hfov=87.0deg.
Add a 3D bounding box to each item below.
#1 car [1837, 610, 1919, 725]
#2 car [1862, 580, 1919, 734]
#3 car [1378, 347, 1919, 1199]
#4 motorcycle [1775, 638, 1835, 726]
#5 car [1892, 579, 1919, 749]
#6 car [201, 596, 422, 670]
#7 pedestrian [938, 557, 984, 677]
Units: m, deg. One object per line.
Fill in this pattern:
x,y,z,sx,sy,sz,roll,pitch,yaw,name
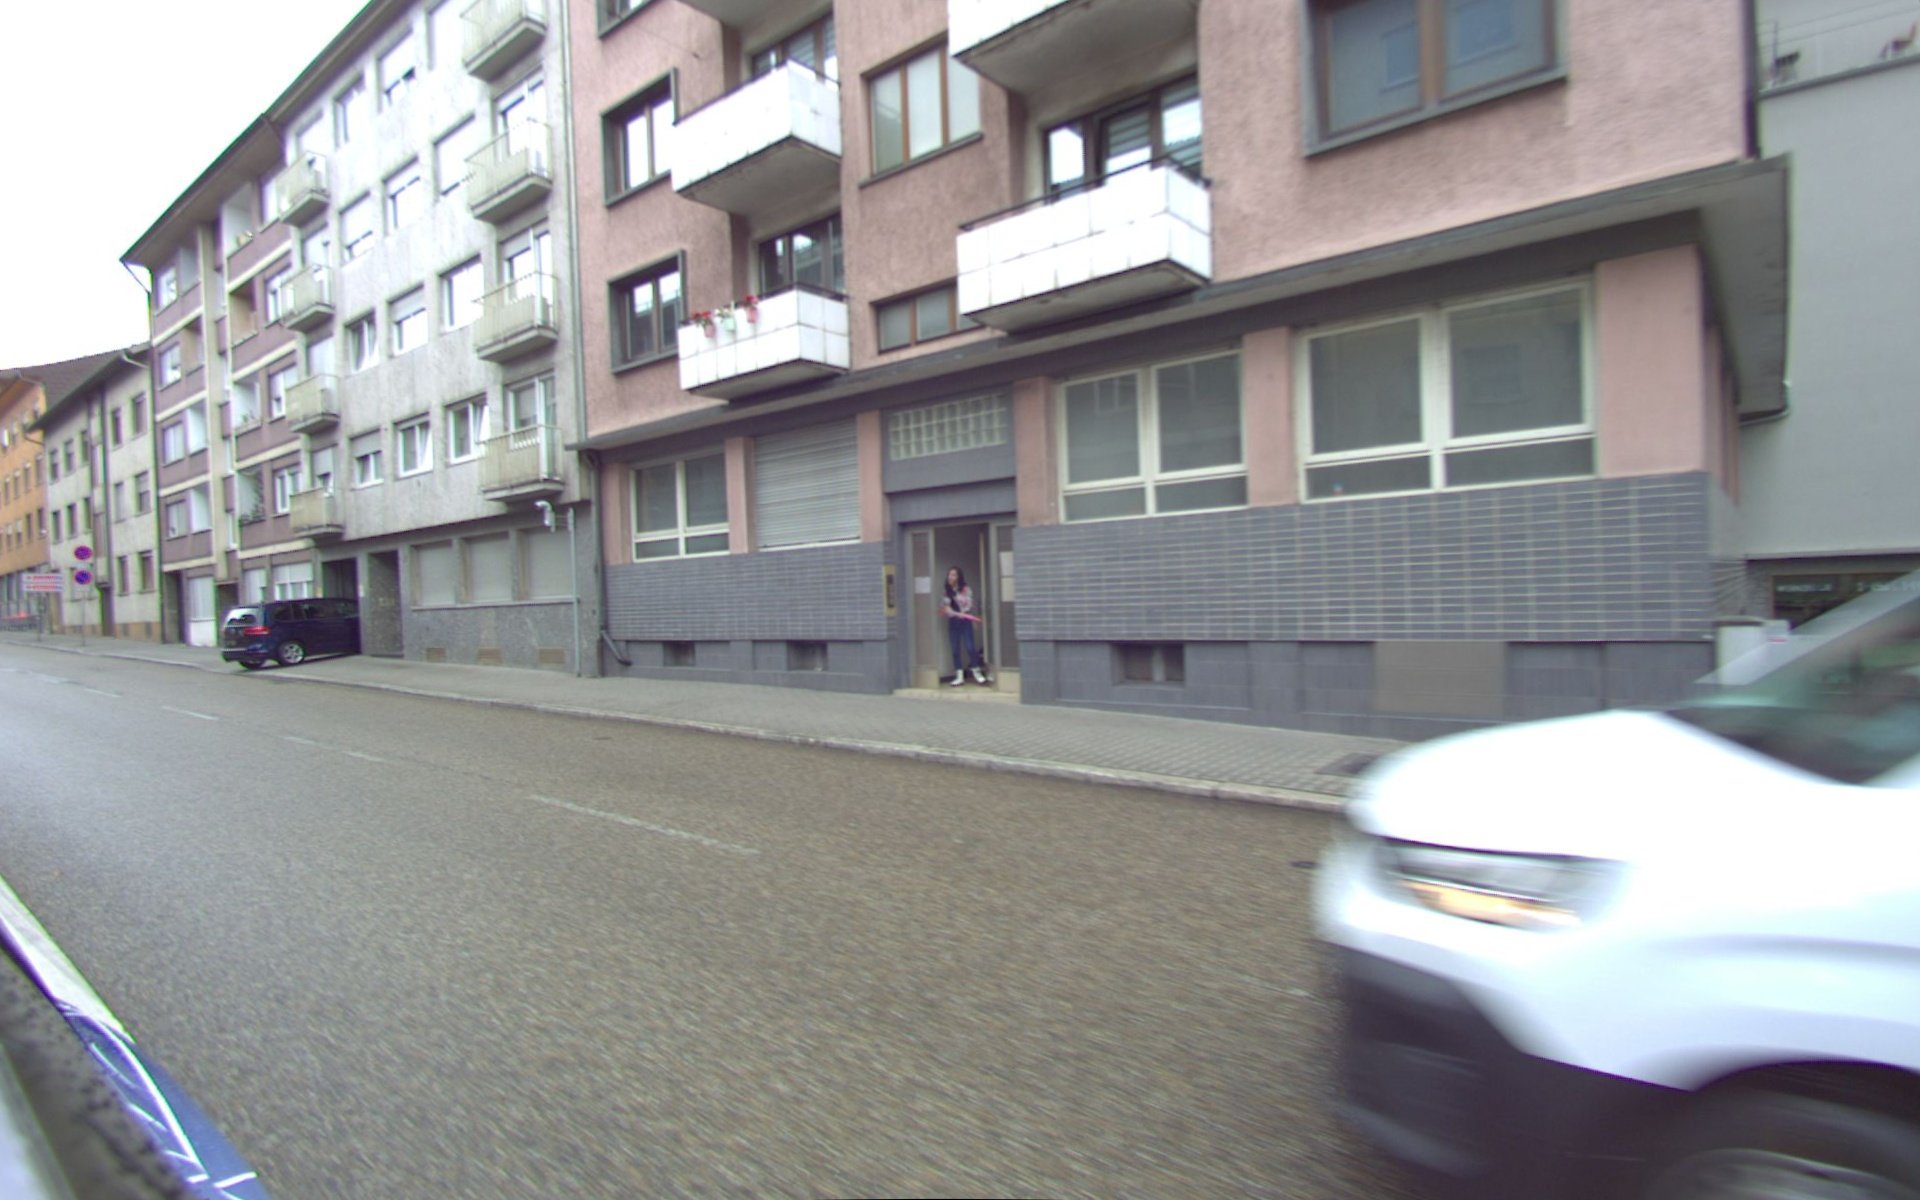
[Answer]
14.499,0.929,13.384,3.979,1.508,1.844,0,-3,26,car
13.291,0.644,11.569,3.976,1.808,1.845,-2,-4,24,car
3.221,0.479,1.801,4.515,1.728,1.798,-1,-2,22,car
12.287,1.159,14.742,0.483,1.098,1.509,-1,2,33,motorcycle
11.762,0.639,9.283,4.310,1.741,1.763,0,-3,18,car
-16.326,0.771,25.708,1.993,1.587,4.264,-1,1,31,car
0.013,0.220,13.838,0.525,1.569,0.449,2,6,14,pedestrian
